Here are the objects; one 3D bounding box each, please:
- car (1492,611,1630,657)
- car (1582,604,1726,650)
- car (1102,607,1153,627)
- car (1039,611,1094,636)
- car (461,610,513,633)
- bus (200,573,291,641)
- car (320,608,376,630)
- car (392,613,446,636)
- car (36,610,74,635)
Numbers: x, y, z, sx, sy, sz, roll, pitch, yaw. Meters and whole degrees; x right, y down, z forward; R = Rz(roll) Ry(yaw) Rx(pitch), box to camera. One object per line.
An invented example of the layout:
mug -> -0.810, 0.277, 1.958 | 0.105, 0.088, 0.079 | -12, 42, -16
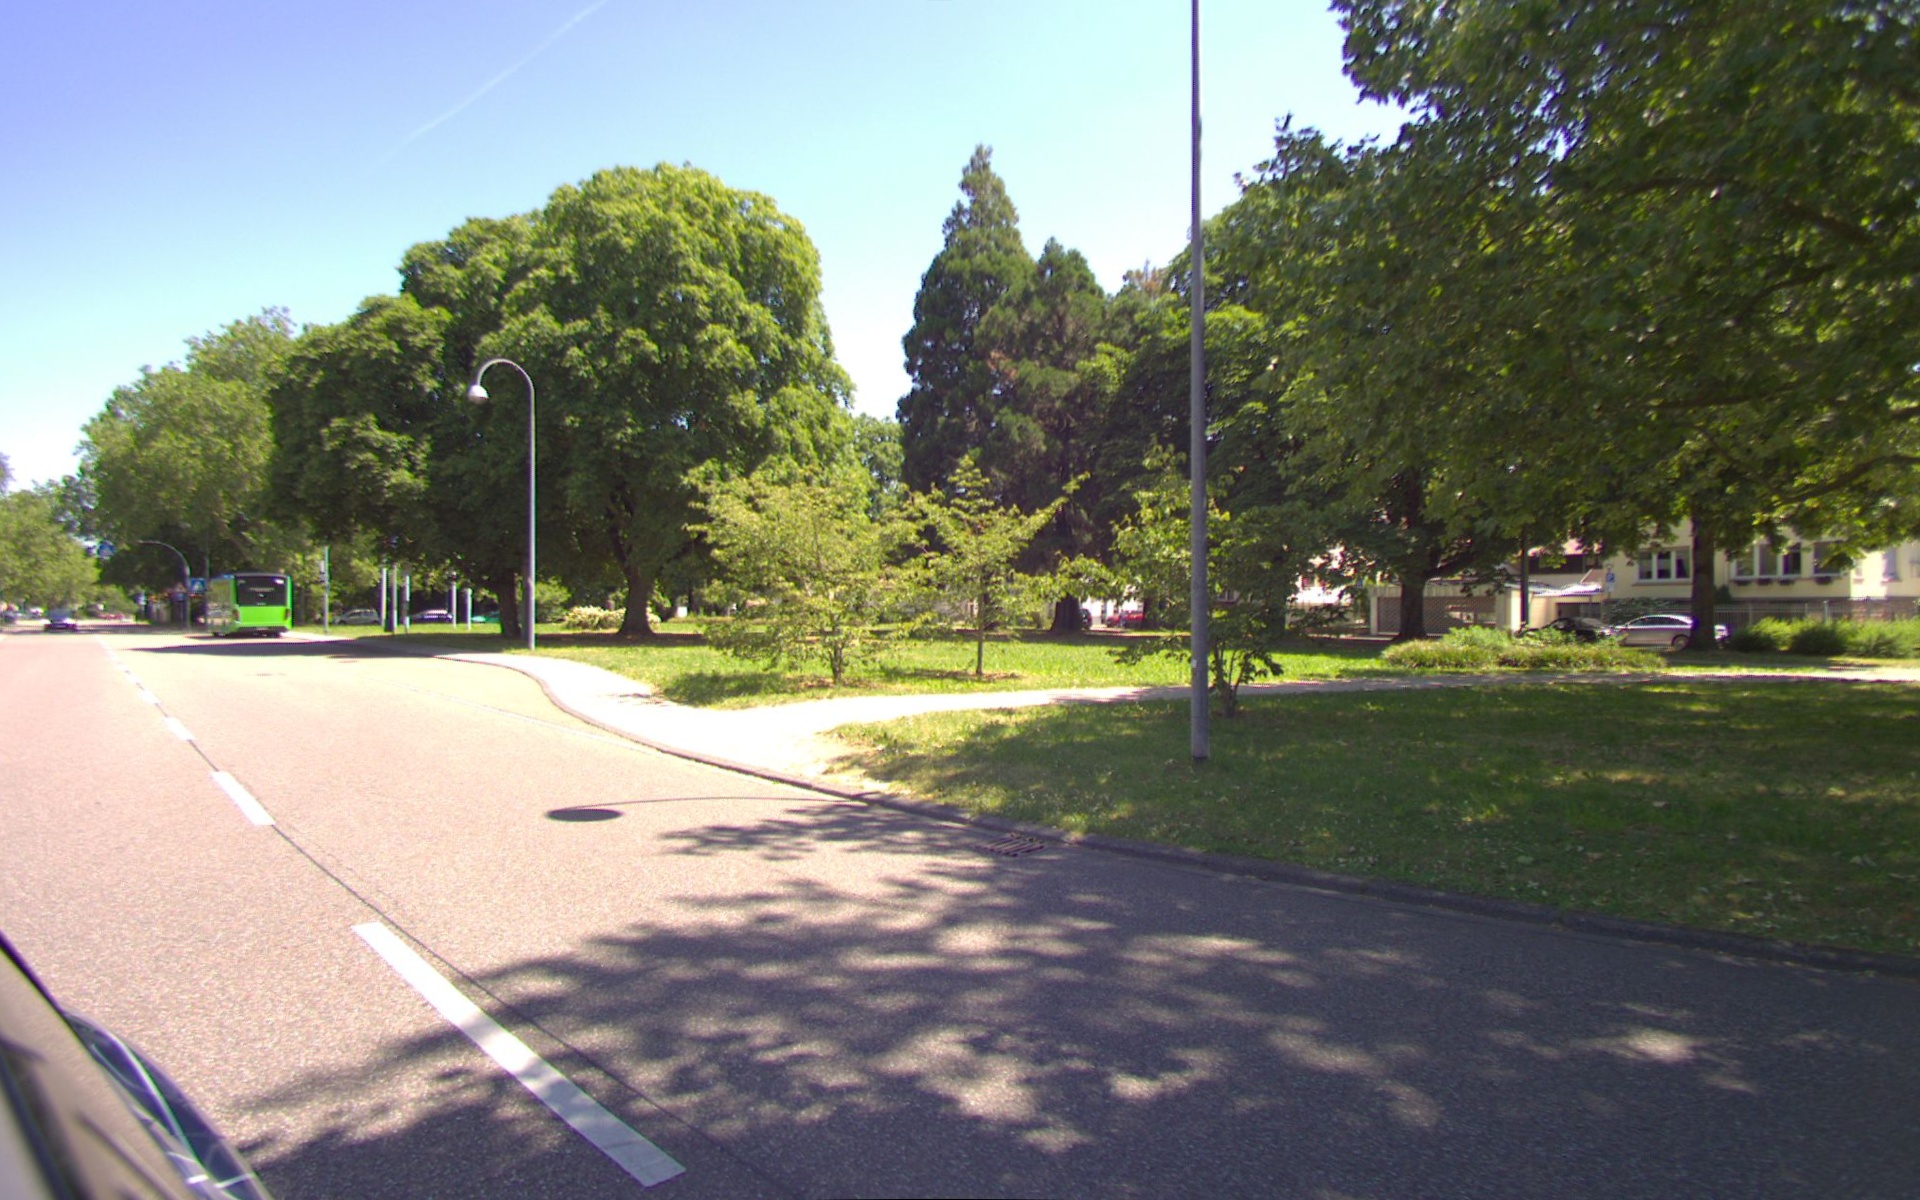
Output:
car -> 24.840, 1.370, 41.954 | 1.968, 1.792, 4.514 | 0, -1, -39
car -> 28.661, 1.060, 41.958 | 1.965, 1.792, 4.520 | 0, 0, -29
car -> 14.179, 1.400, 85.755 | 3.932, 1.630, 2.006 | 0, 0, -31
car -> 7.785, 1.721, 74.469 | 1.966, 1.792, 4.011 | 0, 0, -33
car -> -43.732, 1.957, 93.642 | 3.938, 2.029, 2.003 | 0, -1, -41
bus -> -39.007, 0.411, 55.013 | 2.773, 3.327, 11.873 | 0, -1, -41
car -> -52.337, 1.642, 86.548 | 3.936, 1.817, 2.004 | 0, -1, -39
car -> -47.936, 2.146, 89.645 | 3.936, 2.029, 2.004 | 0, -1, -39
car -> -60.743, 1.505, 67.938 | 1.751, 1.557, 4.189 | 2, -2, -41
